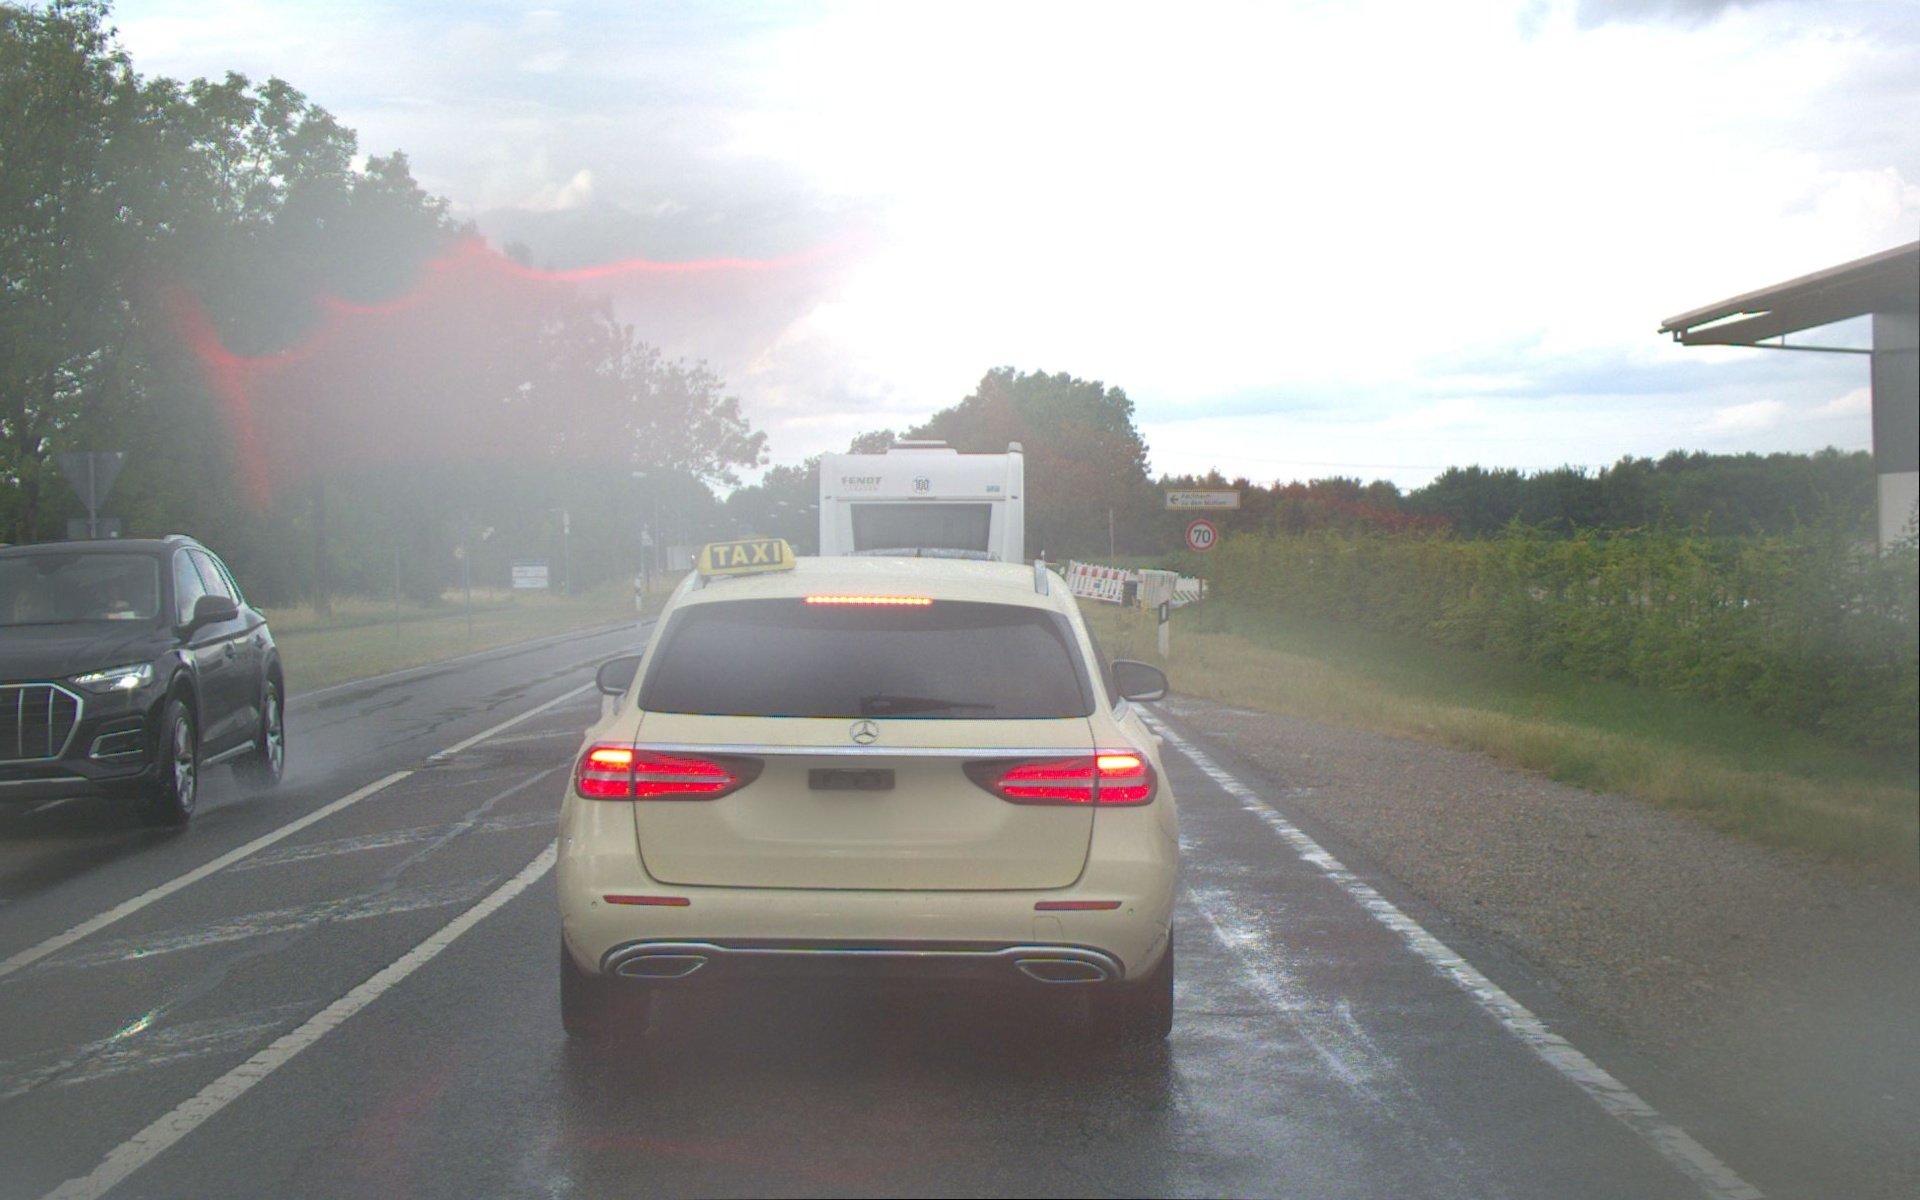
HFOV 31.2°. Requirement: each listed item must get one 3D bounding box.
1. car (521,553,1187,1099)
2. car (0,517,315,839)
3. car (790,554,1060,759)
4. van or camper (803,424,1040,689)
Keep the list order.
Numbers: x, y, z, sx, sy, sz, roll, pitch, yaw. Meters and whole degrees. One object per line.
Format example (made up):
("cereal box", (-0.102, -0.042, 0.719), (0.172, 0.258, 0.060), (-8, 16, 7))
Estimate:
("car", (-0.292, 0.583, 11.302), (1.797, 1.459, 4.031), (0, 1, 0))
("car", (-5.196, 0.423, 20.215), (1.916, 1.626, 4.357), (-4, 1, -1))
("car", (-0.292, 0.369, 26.140), (1.894, 1.424, 3.928), (0, 1, -1))
("van or camper", (-0.404, -0.517, 40.494), (2.497, 2.821, 5.934), (-2, 1, 0))
